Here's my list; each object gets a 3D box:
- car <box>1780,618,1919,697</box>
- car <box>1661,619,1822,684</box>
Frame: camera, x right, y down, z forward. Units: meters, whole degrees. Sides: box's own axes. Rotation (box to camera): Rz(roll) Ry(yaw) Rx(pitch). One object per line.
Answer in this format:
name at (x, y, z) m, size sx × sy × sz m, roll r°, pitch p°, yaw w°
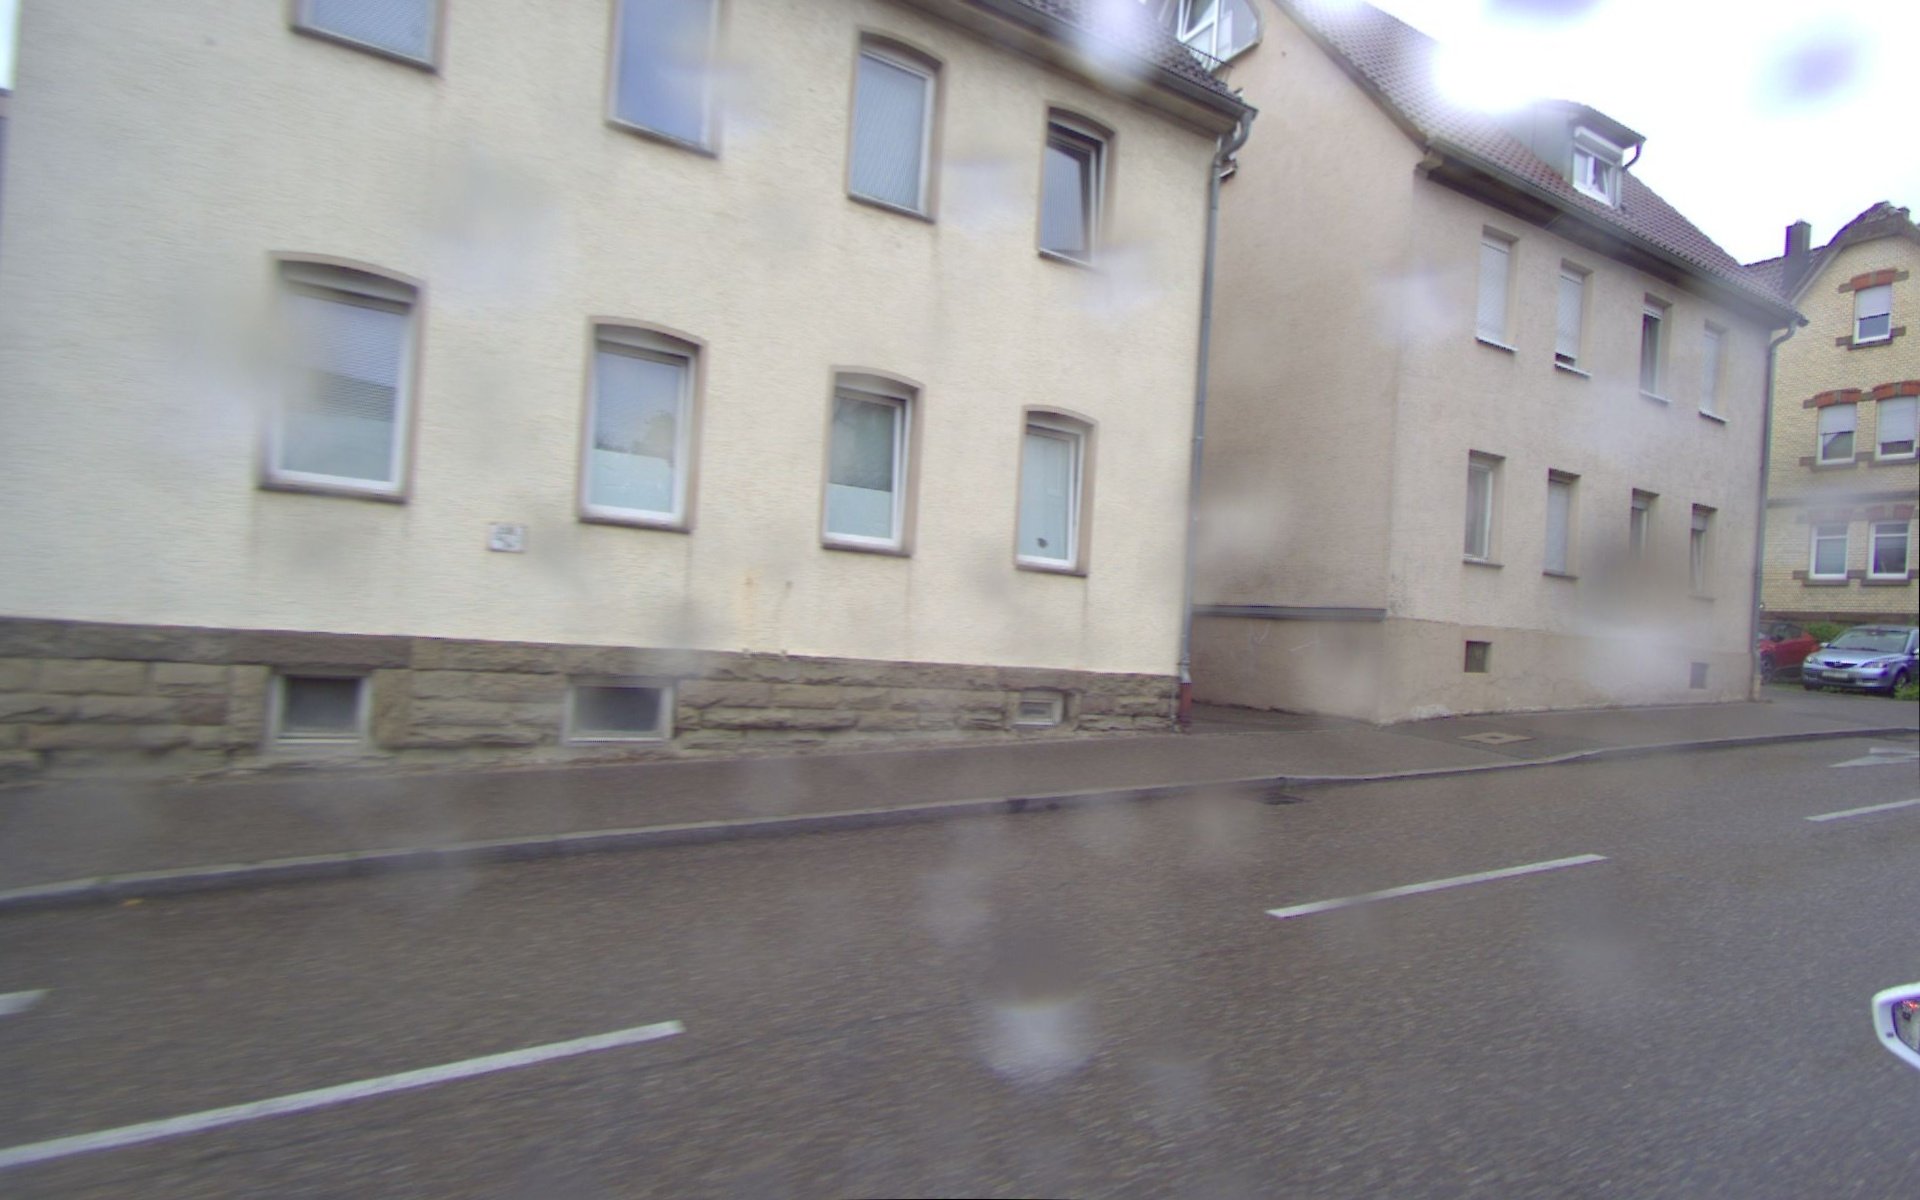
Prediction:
car at (20.086, 1.219, 22.102) m, size 3.834 × 1.523 × 1.763 m, roll 1°, pitch 2°, yaw -28°
car at (19.215, 1.237, 24.677) m, size 3.836 × 1.386 × 1.762 m, roll 1°, pitch 2°, yaw -30°
